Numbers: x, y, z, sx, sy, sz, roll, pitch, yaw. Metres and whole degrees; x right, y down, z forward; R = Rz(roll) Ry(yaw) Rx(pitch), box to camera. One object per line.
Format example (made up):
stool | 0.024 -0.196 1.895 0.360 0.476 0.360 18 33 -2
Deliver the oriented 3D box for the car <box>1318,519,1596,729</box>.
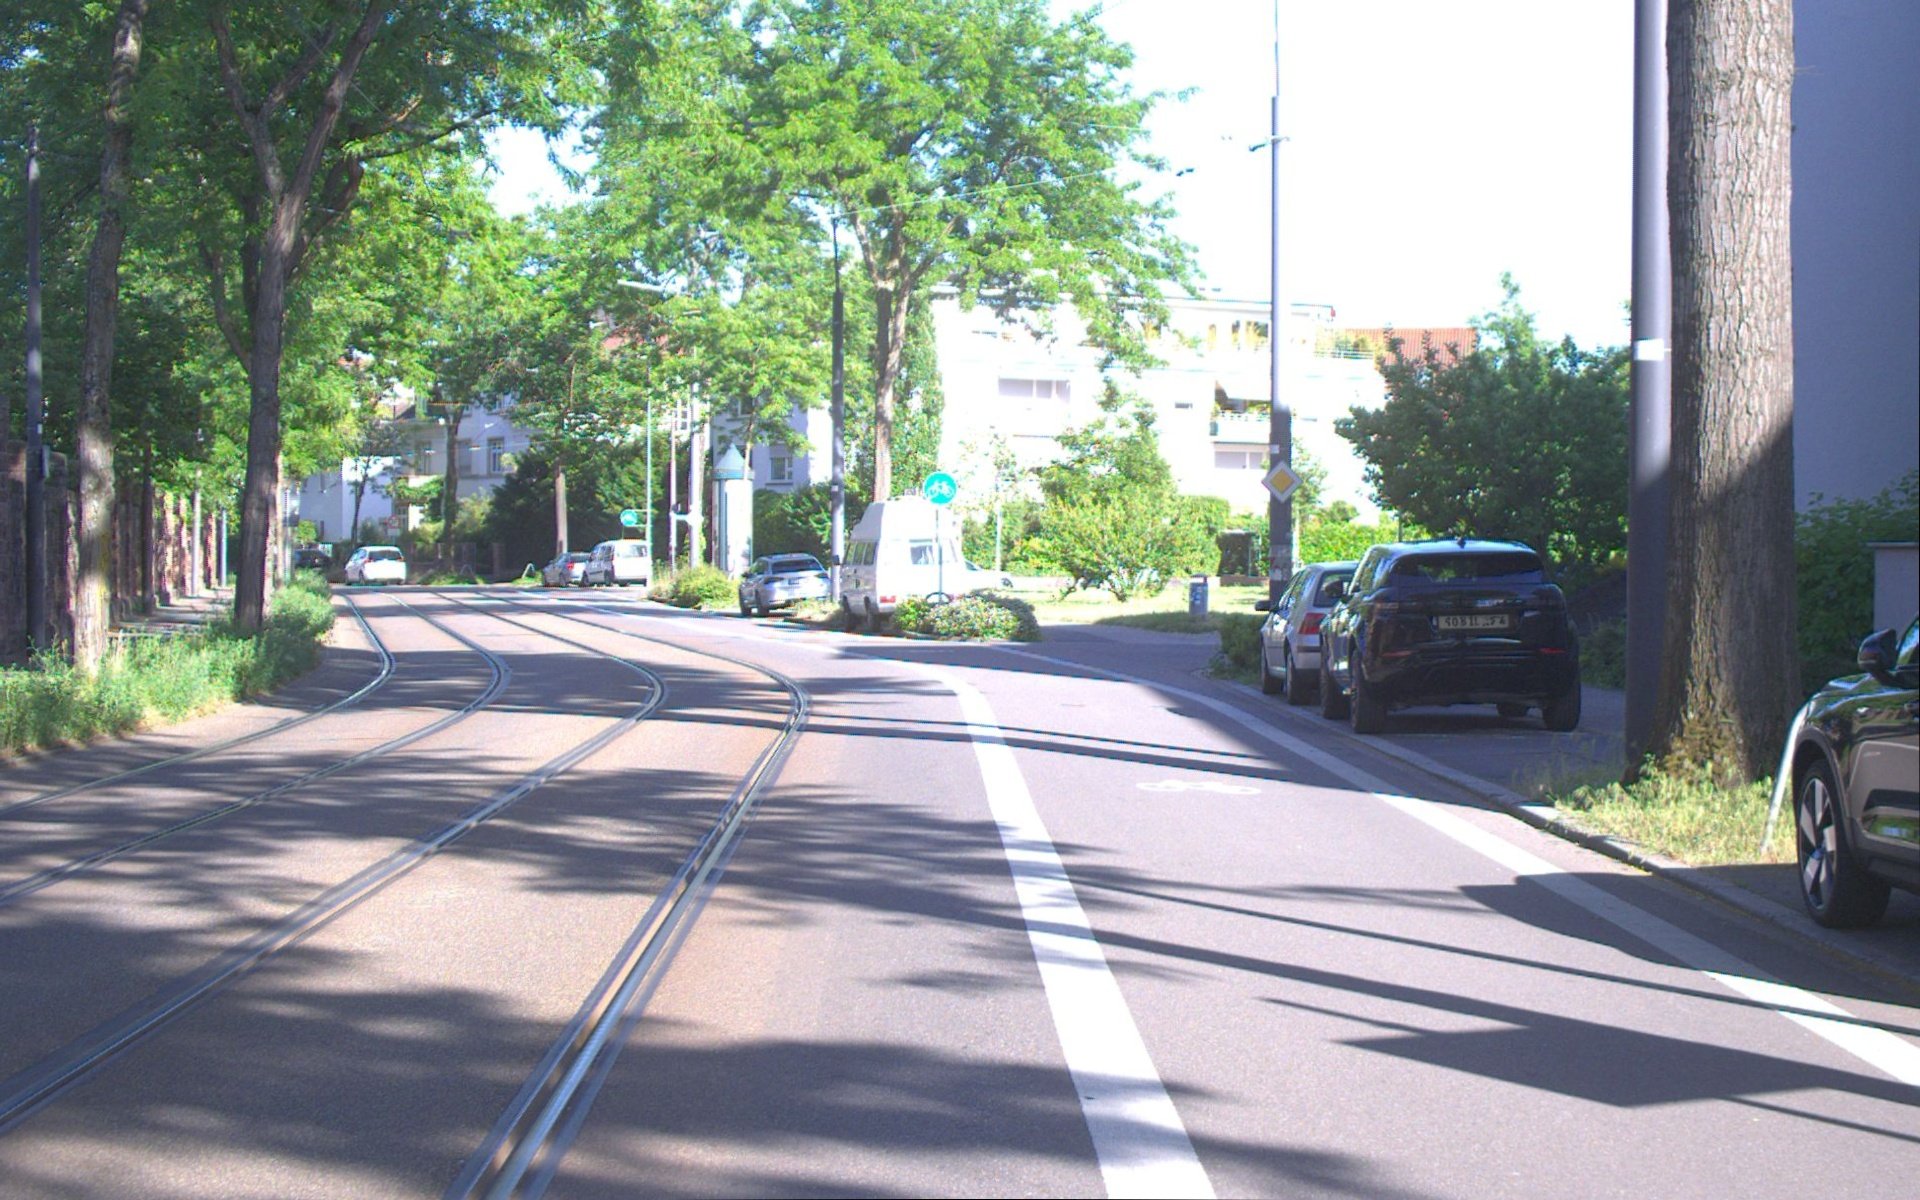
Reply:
car | 4.298 0.154 30.364 2.003 1.669 4.392 -2 1 3

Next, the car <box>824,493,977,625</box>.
car | -1.191 -0.816 66.298 1.993 2.449 4.510 0 1 -14

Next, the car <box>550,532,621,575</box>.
car | -15.224 -1.876 139.688 2.002 1.669 4.174 -2 1 -18

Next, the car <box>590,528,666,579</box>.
car | -12.943 -1.799 133.815 2.002 1.903 4.393 -2 1 -18

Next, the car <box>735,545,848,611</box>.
car | -4.154 -0.562 84.008 2.002 1.555 4.394 0 1 -13

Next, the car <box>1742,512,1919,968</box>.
car | 4.492 0.482 12.894 2.003 1.669 4.393 -2 1 -1

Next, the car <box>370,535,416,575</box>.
car | -23.939 -1.908 145.157 1.865 1.669 4.174 0 1 -9

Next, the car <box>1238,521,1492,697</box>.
car | 4.162 0.050 35.998 2.003 1.669 4.393 -2 1 -1
